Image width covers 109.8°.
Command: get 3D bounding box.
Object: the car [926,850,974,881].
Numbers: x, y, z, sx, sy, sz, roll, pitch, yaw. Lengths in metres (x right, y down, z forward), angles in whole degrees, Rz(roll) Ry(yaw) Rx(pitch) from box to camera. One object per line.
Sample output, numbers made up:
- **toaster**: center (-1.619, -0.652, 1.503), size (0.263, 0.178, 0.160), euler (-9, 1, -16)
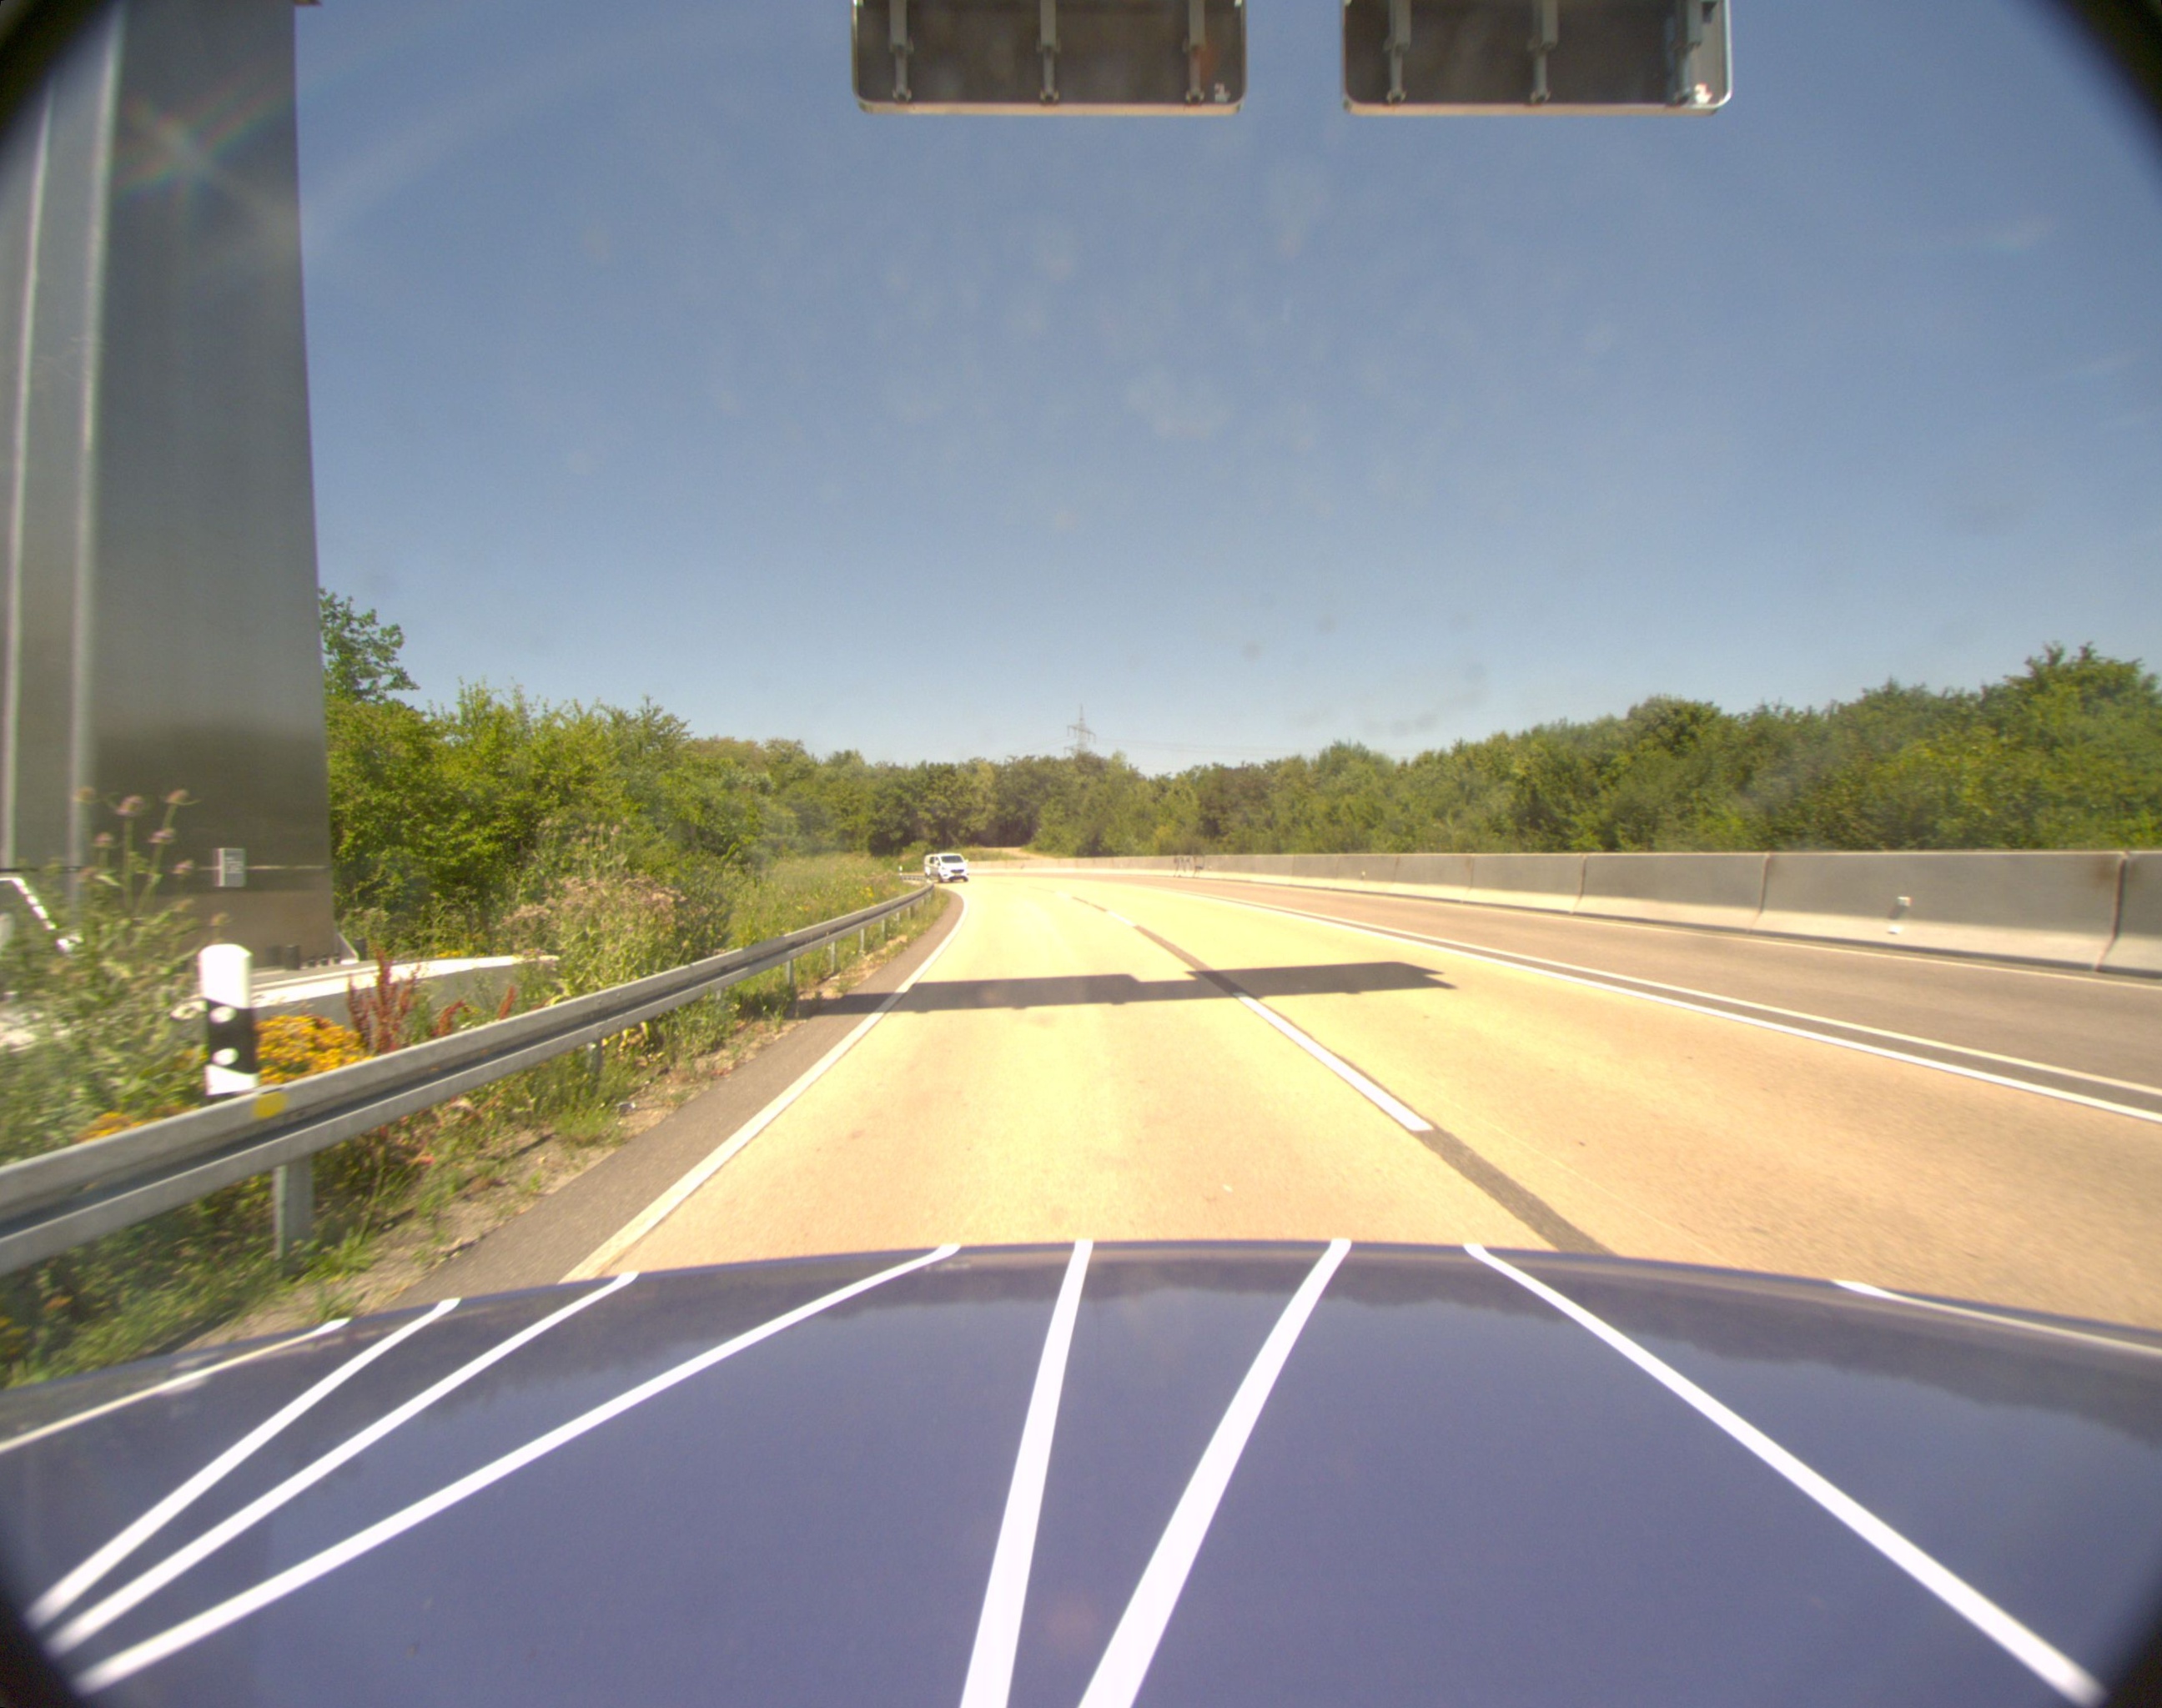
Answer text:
- **car**: center (-9.226, 0.812, 53.041), size (2.066, 2.002, 5.032), euler (-3, 0, -23)
